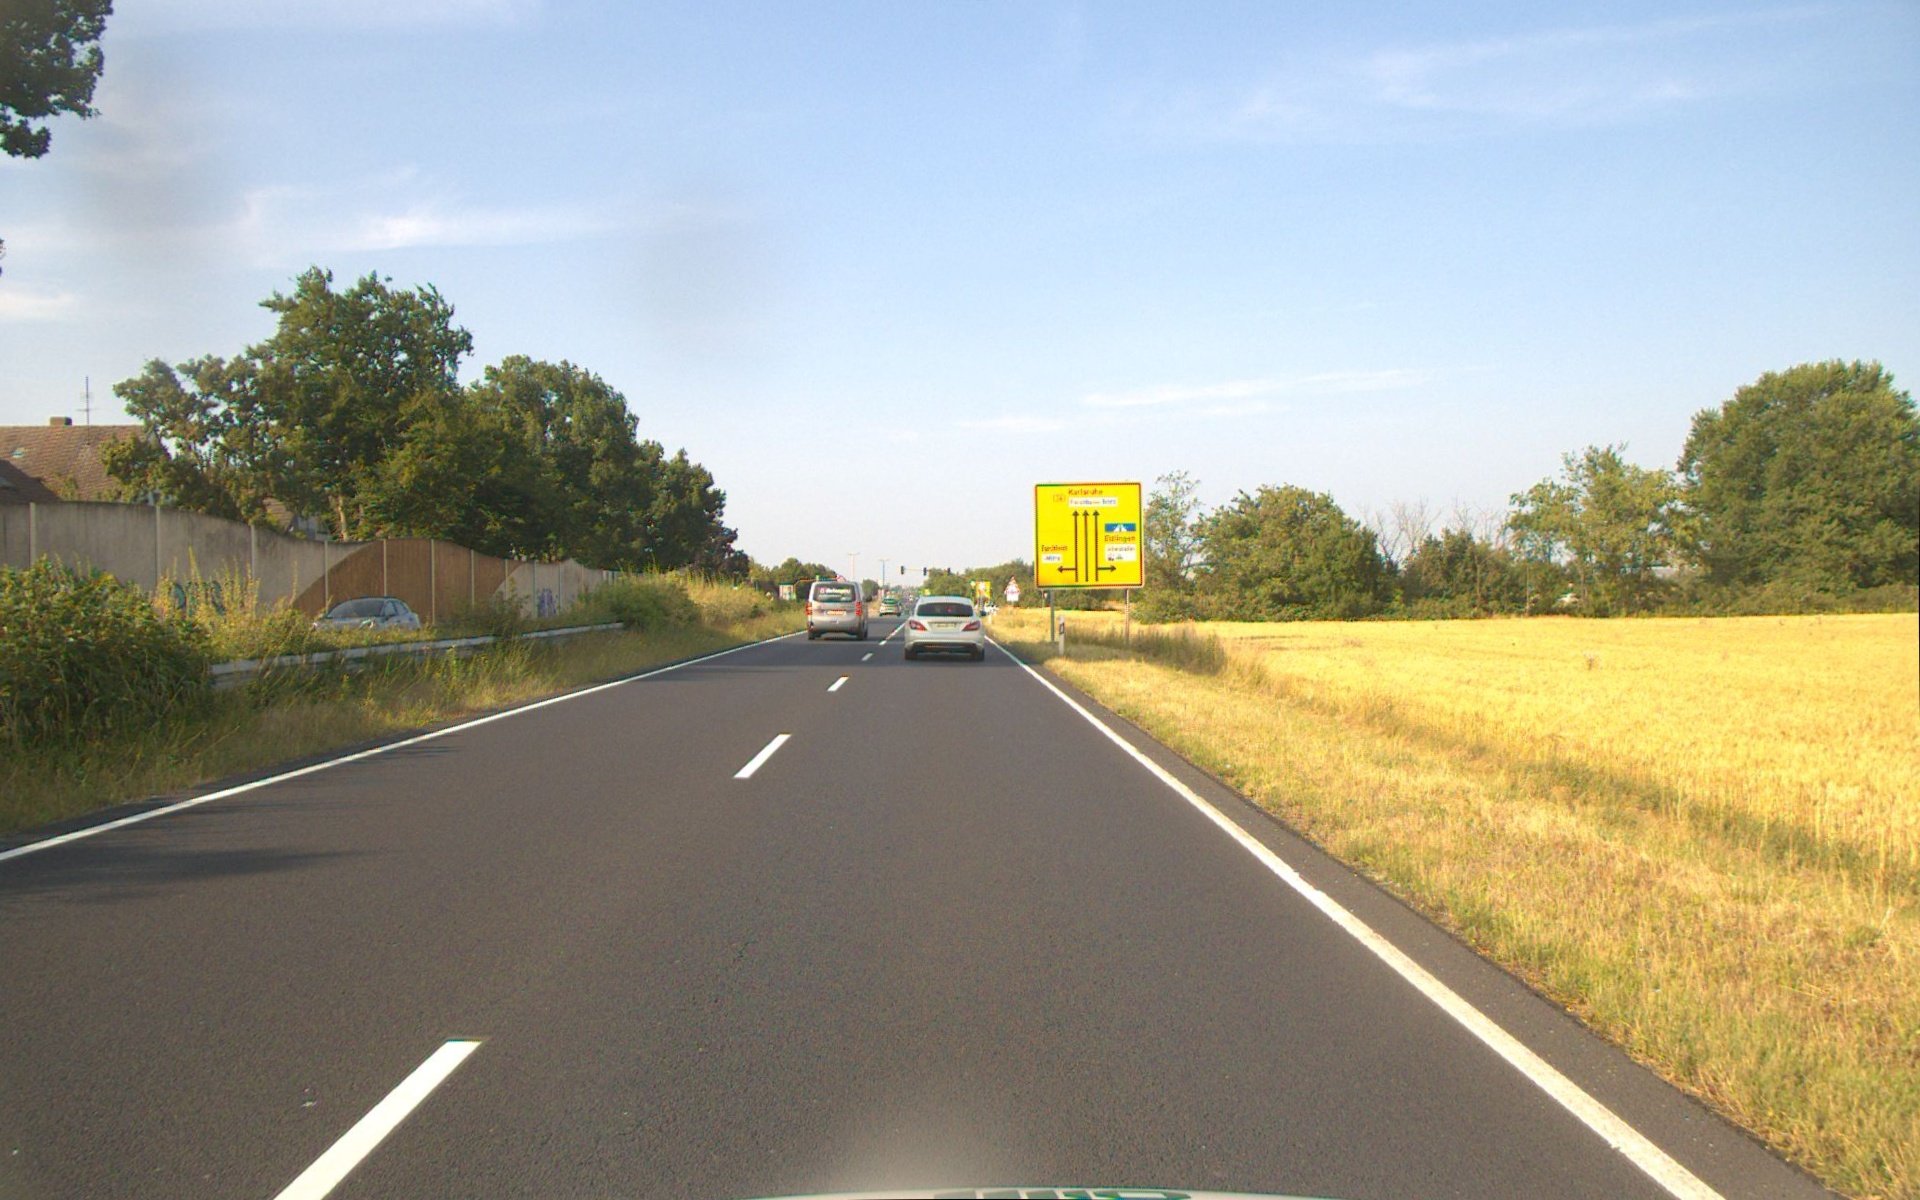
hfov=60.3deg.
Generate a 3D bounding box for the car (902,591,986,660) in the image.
[{"bbox_3d":[-0.408,0.574,38.816,1.856,1.535,3.999,0,0,-2],"label":"car"}]

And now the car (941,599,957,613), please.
[{"bbox_3d":[-1.254,0.653,189.687,1.718,1.543,3.999,-1,0,-1],"label":"car"}]

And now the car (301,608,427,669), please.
[{"bbox_3d":[-14.692,0.914,41.018,1.615,1.384,4.288,2,0,-1],"label":"car"}]

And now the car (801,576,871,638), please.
[{"bbox_3d":[-4.067,0.212,54.995,1.984,1.925,4.957,1,0,-1],"label":"car"}]

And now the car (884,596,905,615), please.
[{"bbox_3d":[-5.481,0.450,139.085,1.682,1.518,3.583,1,0,-1],"label":"car"}]

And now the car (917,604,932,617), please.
[{"bbox_3d":[-4.675,1.409,220.225,1.801,1.713,4.000,1,0,1],"label":"car"}]
